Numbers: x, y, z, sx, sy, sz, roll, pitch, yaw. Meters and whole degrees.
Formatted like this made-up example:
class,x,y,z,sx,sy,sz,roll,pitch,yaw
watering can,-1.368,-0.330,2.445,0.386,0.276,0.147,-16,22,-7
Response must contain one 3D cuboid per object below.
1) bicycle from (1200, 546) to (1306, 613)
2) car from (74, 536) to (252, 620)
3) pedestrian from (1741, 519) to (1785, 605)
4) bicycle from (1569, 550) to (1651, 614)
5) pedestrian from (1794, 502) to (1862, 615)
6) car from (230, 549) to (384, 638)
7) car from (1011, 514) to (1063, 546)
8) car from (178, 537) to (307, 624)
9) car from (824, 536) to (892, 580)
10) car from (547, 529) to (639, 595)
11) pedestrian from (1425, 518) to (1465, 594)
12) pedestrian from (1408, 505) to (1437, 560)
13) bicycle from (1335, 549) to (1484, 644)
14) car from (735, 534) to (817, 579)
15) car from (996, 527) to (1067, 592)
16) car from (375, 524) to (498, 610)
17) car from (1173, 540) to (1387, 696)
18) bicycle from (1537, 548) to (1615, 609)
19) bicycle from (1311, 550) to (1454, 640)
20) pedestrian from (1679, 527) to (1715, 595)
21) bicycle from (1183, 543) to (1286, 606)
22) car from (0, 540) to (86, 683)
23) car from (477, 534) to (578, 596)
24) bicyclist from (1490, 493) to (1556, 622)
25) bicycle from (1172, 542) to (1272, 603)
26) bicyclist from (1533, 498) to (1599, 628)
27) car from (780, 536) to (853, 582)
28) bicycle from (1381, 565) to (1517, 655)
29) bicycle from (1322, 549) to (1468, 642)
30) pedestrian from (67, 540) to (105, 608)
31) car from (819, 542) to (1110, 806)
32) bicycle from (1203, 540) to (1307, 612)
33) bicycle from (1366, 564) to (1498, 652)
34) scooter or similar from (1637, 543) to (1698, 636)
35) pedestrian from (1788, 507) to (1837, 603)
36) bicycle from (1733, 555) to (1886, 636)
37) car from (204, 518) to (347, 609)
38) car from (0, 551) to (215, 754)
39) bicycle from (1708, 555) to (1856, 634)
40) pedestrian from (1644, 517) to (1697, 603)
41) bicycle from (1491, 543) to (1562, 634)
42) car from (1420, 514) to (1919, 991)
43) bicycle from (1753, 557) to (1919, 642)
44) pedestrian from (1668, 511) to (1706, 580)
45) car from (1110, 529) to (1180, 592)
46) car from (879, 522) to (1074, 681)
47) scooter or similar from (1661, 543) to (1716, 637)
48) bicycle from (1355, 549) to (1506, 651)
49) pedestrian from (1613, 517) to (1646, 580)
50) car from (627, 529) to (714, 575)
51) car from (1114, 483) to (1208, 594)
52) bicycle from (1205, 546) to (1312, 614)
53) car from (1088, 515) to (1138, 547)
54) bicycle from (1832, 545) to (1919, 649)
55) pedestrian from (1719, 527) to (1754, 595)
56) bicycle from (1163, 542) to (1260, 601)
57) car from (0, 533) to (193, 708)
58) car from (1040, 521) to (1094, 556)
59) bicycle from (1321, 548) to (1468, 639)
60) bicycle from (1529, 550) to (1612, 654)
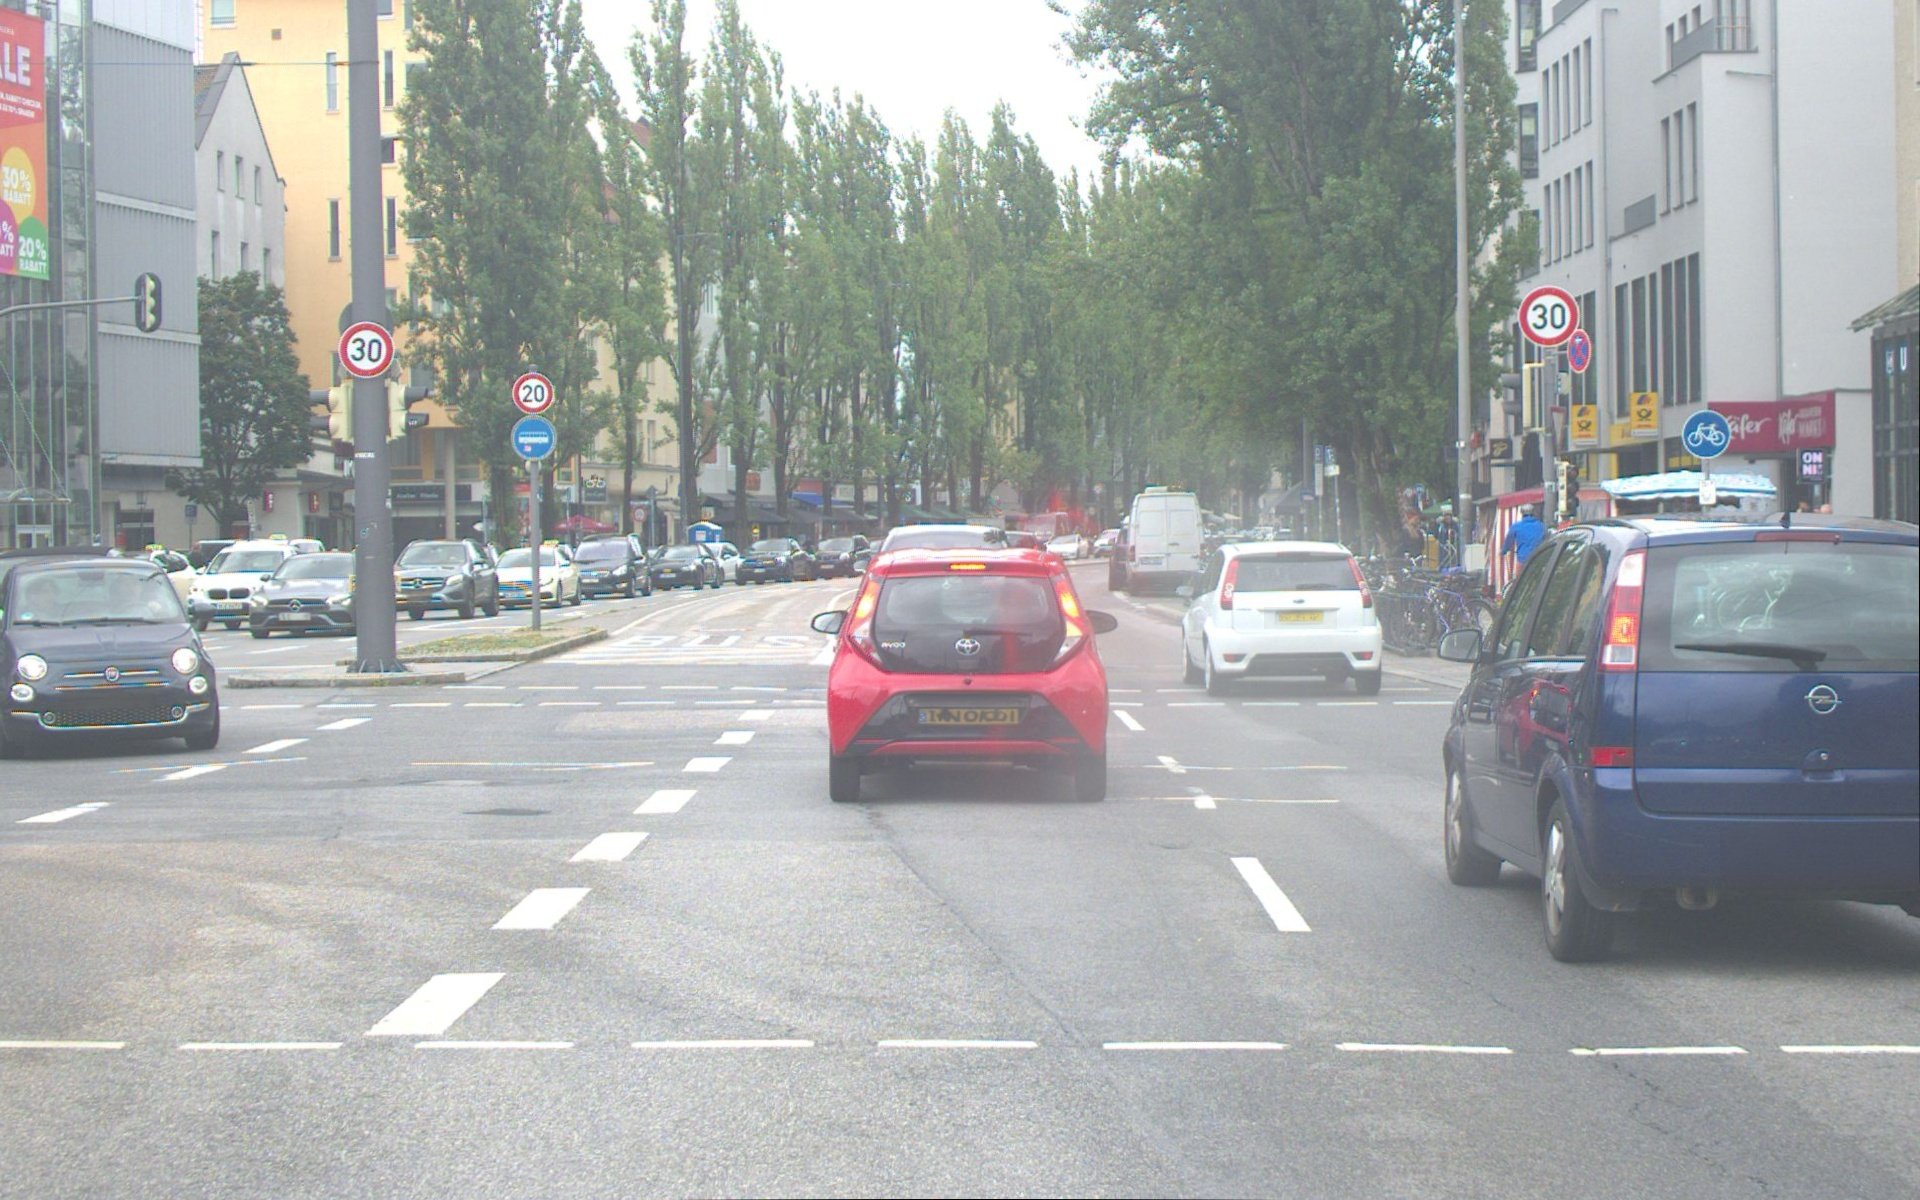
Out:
class,x,y,z,sx,sy,sz,roll,pitch,yaw
bicycle,5.086,-0.355,59.707,1.836,1.132,0.585,0,2,42
car,-16.488,-0.484,71.325,1.994,1.673,4.181,-1,1,12
pedestrian,14.092,-0.664,60.346,0.580,1.500,0.615,0,1,31
bicycle,10.084,-0.275,53.338,1.181,0.960,0.369,-1,1,-2
pedestrian,13.563,-0.655,53.722,0.813,1.721,0.758,-2,1,0
car,-11.132,-0.137,58.869,1.993,1.407,4.168,1,1,-3
car,4.183,-3.809,186.481,1.994,1.686,4.411,-1,1,12
car,-13.630,-0.398,65.481,1.698,1.590,4.000,-1,1,-1
car,-4.032,-1.700,136.931,1.994,1.686,4.920,-1,1,6
car,-9.882,-1.039,92.916,1.936,1.733,4.588,-1,1,1
pedestrian,11.072,-0.999,78.526,0.790,1.722,0.764,-1,1,0
pedestrian,13.294,-1.931,98.750,0.713,1.553,0.676,-1,1,0
bicycle,5.610,-0.050,42.945,1.803,1.154,0.547,0,2,38
car,-6.335,-1.516,118.738,1.994,1.529,4.586,-1,1,7
car,2.100,-1.183,100.371,1.993,1.831,4.000,-1,1,2
car,-10.774,-0.703,71.057,1.743,1.664,4.732,-1,1,1
car,3.070,0.138,33.549,1.699,1.421,3.497,-1,1,-1
bicycle,10.101,-0.357,56.357,1.224,0.960,0.369,-2,1,-22
bicycle,5.539,-0.071,45.098,1.802,1.154,0.486,0,1,29
pedestrian,15.283,-0.818,71.284,0.598,1.397,0.580,-1,1,0
bicycle,4.996,-0.469,62.632,1.836,1.132,0.585,0,2,36
car,-11.027,0.105,38.199,1.664,1.503,4.282,-1,1,-2
car,-10.252,-0.842,81.775,1.765,1.417,4.639,-1,1,0
bicyclist,8.265,-0.633,50.484,0.762,1.863,1.133,-1,1,0
bicycle,4.979,-0.525,65.361,1.836,1.132,0.585,0,2,36
bicyclist,7.844,-0.487,44.520,0.614,1.652,1.251,-1,1,0
car,-5.392,-1.566,129.462,1.994,1.686,4.920,-1,1,7
bicycle,5.688,0.108,40.038,0.498,1.025,1.601,-2,2,-42
bicycle,5.514,-0.066,43.628,1.803,1.154,0.547,0,2,38
pedestrian,-21.934,-0.645,86.245,0.651,1.686,0.711,-1,1,13
car,0.039,0.387,20.779,1.605,1.456,3.130,1,1,1
bicycle,5.172,-0.419,60.372,1.836,1.237,0.585,0,2,42
bicycle,5.604,0.087,40.894,0.498,1.025,1.601,-2,2,-42
scooter or similar,9.205,-0.148,44.707,0.364,1.172,1.345,-1,1,30
pedestrian,14.839,-0.784,59.811,0.601,1.664,0.684,0,1,35
bicycle,10.457,-0.058,42.322,1.754,0.961,0.453,-1,1,-2
car,-16.596,-0.928,83.609,1.994,2.006,5.523,-1,2,4
car,-6.900,0.357,26.647,1.545,1.440,3.540,-1,1,-23
bicycle,10.405,-0.070,43.544,1.754,0.961,0.453,-1,1,1
pedestrian,12.692,-0.720,61.388,0.809,1.517,0.799,0,1,20
bicycle,8.277,-0.187,50.314,0.614,1.260,2.520,-1,1,0
car,2.887,0.485,13.305,1.703,1.584,3.556,1,1,0
bicycle,10.380,-0.012,40.740,1.837,0.961,0.509,-1,1,-2
pedestrian,16.660,-1.256,78.808,0.713,1.553,0.676,-1,1,0
car,5.004,-1.081,93.330,1.703,1.657,3.556,0,1,0
car,0.140,-0.021,37.437,1.993,1.612,4.000,-1,1,-1
scooter or similar,9.397,-0.137,44.345,0.301,1.172,1.275,-1,1,30
bicycle,5.679,-0.008,41.552,1.803,1.194,0.558,0,2,43
pedestrian,15.084,-1.161,77.444,0.598,1.397,0.580,-1,1,0
car,-8.838,-1.458,105.376,1.845,1.378,4.600,0,1,6
car,5.074,-1.553,87.195,2.107,2.709,4.804,-1,1,1
bicycle,5.110,-0.346,58.945,1.836,1.132,0.585,0,2,42
car,8.406,-3.784,188.884,1.994,1.686,4.411,-1,1,12
bicycle,10.393,-0.042,37.070,1.837,1.090,0.509,-1,1,-2
pedestrian,16.098,-0.808,71.258,0.574,1.397,0.580,-1,1,0
bicycle,4.880,-0.556,66.829,1.836,1.132,0.585,0,2,36
car,-7.900,0.175,31.532,1.503,1.529,2.838,0,0,-9
car,5.505,-3.167,176.680,1.994,1.686,4.411,-1,1,12
bicycle,5.613,-0.079,44.437,1.801,1.154,0.486,0,1,26
bicycle,7.866,0.008,44.405,0.614,1.260,2.520,-1,1,0
